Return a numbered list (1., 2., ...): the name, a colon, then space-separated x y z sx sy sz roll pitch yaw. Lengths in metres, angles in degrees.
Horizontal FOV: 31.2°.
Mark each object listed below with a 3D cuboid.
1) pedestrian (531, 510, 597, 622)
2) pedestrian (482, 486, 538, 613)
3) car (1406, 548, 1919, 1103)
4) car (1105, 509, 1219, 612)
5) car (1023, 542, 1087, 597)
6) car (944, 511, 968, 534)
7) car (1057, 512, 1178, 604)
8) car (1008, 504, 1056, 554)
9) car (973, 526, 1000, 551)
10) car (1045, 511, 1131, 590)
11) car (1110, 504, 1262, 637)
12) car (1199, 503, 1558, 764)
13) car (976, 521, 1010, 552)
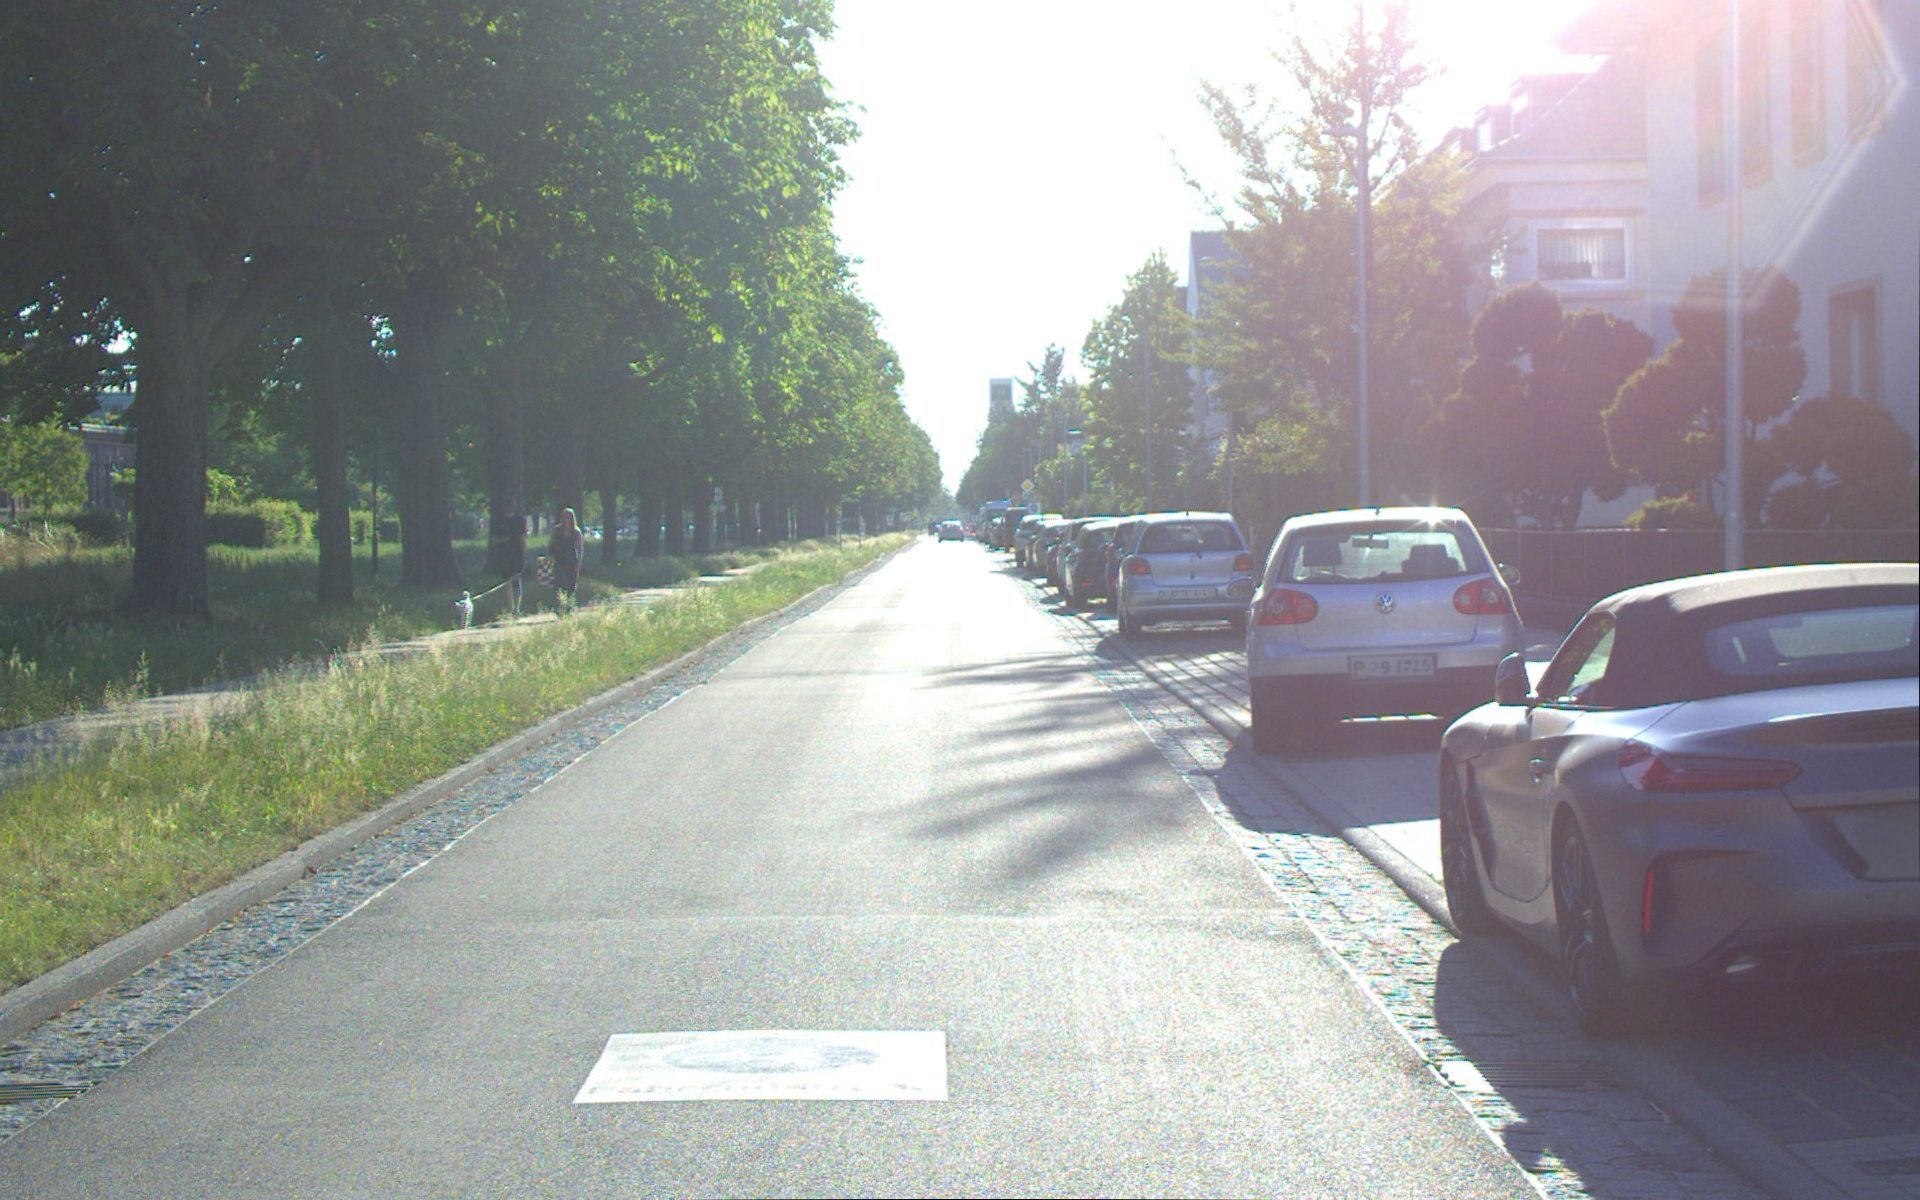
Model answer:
1. pedestrian: -5.766 -0.499 50.070 0.783 1.609 0.952 0 1 4
2. pedestrian: -6.551 -0.737 50.046 0.624 1.824 0.886 0 1 4
3. car: 2.642 0.566 11.227 1.774 1.284 4.273 -3 2 1
4. car: 3.162 -0.623 53.584 1.658 1.488 3.715 -2 1 4
5. car: 2.513 -0.823 91.726 1.652 1.391 3.266 -1 1 1
6. car: -0.289 -5.427 241.175 1.652 1.536 3.267 0 1 0
7. car: 2.665 -0.717 58.878 1.736 1.444 4.197 -2 1 -1
8. car: 2.317 -2.300 110.818 1.498 1.561 3.266 -1 1 1
9. car: 1.688 -3.871 216.894 1.652 1.536 3.266 0 1 1
10. car: 2.541 -0.998 68.752 1.592 1.504 3.592 -1 1 1
11. car: 2.756 -0.397 42.599 1.628 1.499 3.633 -3 2 1
12. car: 2.670 0.158 22.762 1.744 1.469 3.922 -4 1 -1
13. car: 1.661 -3.184 172.780 1.652 1.536 3.266 0 1 1
